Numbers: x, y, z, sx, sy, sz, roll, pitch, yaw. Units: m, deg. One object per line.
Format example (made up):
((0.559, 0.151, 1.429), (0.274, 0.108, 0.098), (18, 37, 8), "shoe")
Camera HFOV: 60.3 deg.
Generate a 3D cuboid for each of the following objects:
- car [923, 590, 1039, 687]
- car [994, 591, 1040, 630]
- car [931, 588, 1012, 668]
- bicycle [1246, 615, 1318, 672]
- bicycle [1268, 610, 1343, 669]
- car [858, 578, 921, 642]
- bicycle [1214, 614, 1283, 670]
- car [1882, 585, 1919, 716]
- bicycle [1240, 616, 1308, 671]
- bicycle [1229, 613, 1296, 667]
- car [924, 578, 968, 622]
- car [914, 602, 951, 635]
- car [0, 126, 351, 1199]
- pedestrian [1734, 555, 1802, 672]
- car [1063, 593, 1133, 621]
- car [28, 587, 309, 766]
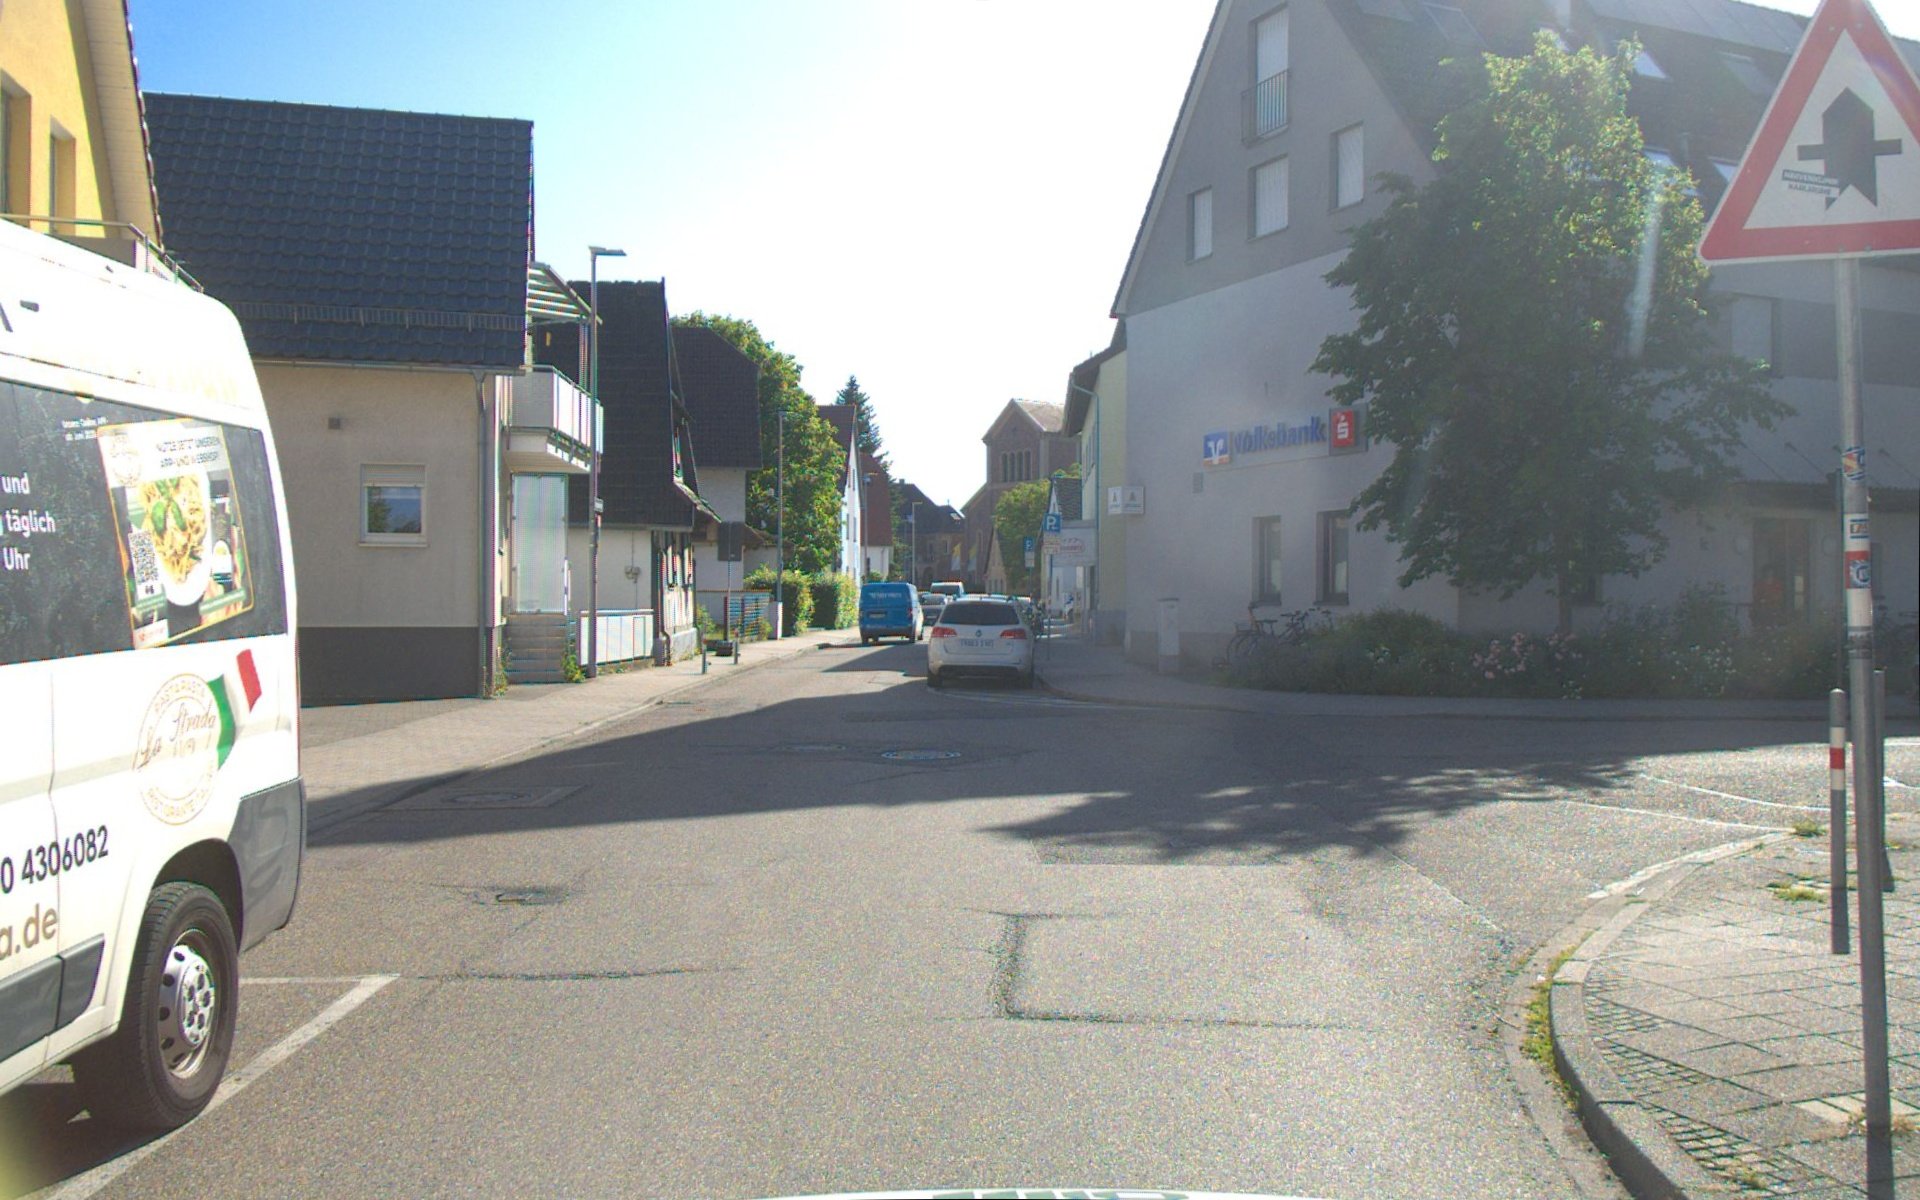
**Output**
((0.445, 0.595, 28.594), (1.807, 1.540, 4.508), (0, 0, 3), "car")
((2.286, 0.393, 66.674), (1.774, 1.501, 4.660), (1, 0, 2), "car")
((0.228, 0.553, 34.837), (1.577, 1.547, 3.971), (1, 0, 0), "car")
((5.373, 0.719, 27.628), (1.139, 0.936, 0.313), (-1, 0, -2), "bicycle")
((5.592, 0.631, 26.781), (1.139, 0.936, 0.313), (-1, 0, -2), "bicycle")
((-2.261, 0.298, 54.304), (1.863, 1.951, 5.069), (-1, 0, -1), "car")
((5.192, 0.747, 29.784), (1.196, 0.992, 0.320), (-1, 0, 14), "bicycle")
((13.295, 0.566, 19.332), (4.211, 1.520, 1.810), (-1, 0, -10), "car")
((5.431, 0.748, 28.650), (1.138, 0.936, 0.313), (-1, 0, 8), "bicycle")
((5.329, 0.713, 29.153), (1.138, 0.936, 0.313), (-1, 0, 8), "bicycle")
((-0.796, -0.030, 98.570), (2.151, 2.431, 6.067), (-2, 0, 3), "car")
((-1.420, 0.936, 86.737), (1.679, 1.626, 3.927), (-1, 0, 3), "car")
((-3.169, 0.235, 3.068), (2.207, 2.513, 5.513), (-1, 0, -2), "car")
((14.378, 0.228, 29.441), (0.760, 2.049, 0.763), (0, 0, -16), "pedestrian")
((8.029, 0.409, 96.037), (3.828, 1.518, 1.849), (-1, 0, 12), "car")
((-7.388, 0.637, 15.840), (1.660, 1.470, 4.159), (1, 0, -15), "car")
